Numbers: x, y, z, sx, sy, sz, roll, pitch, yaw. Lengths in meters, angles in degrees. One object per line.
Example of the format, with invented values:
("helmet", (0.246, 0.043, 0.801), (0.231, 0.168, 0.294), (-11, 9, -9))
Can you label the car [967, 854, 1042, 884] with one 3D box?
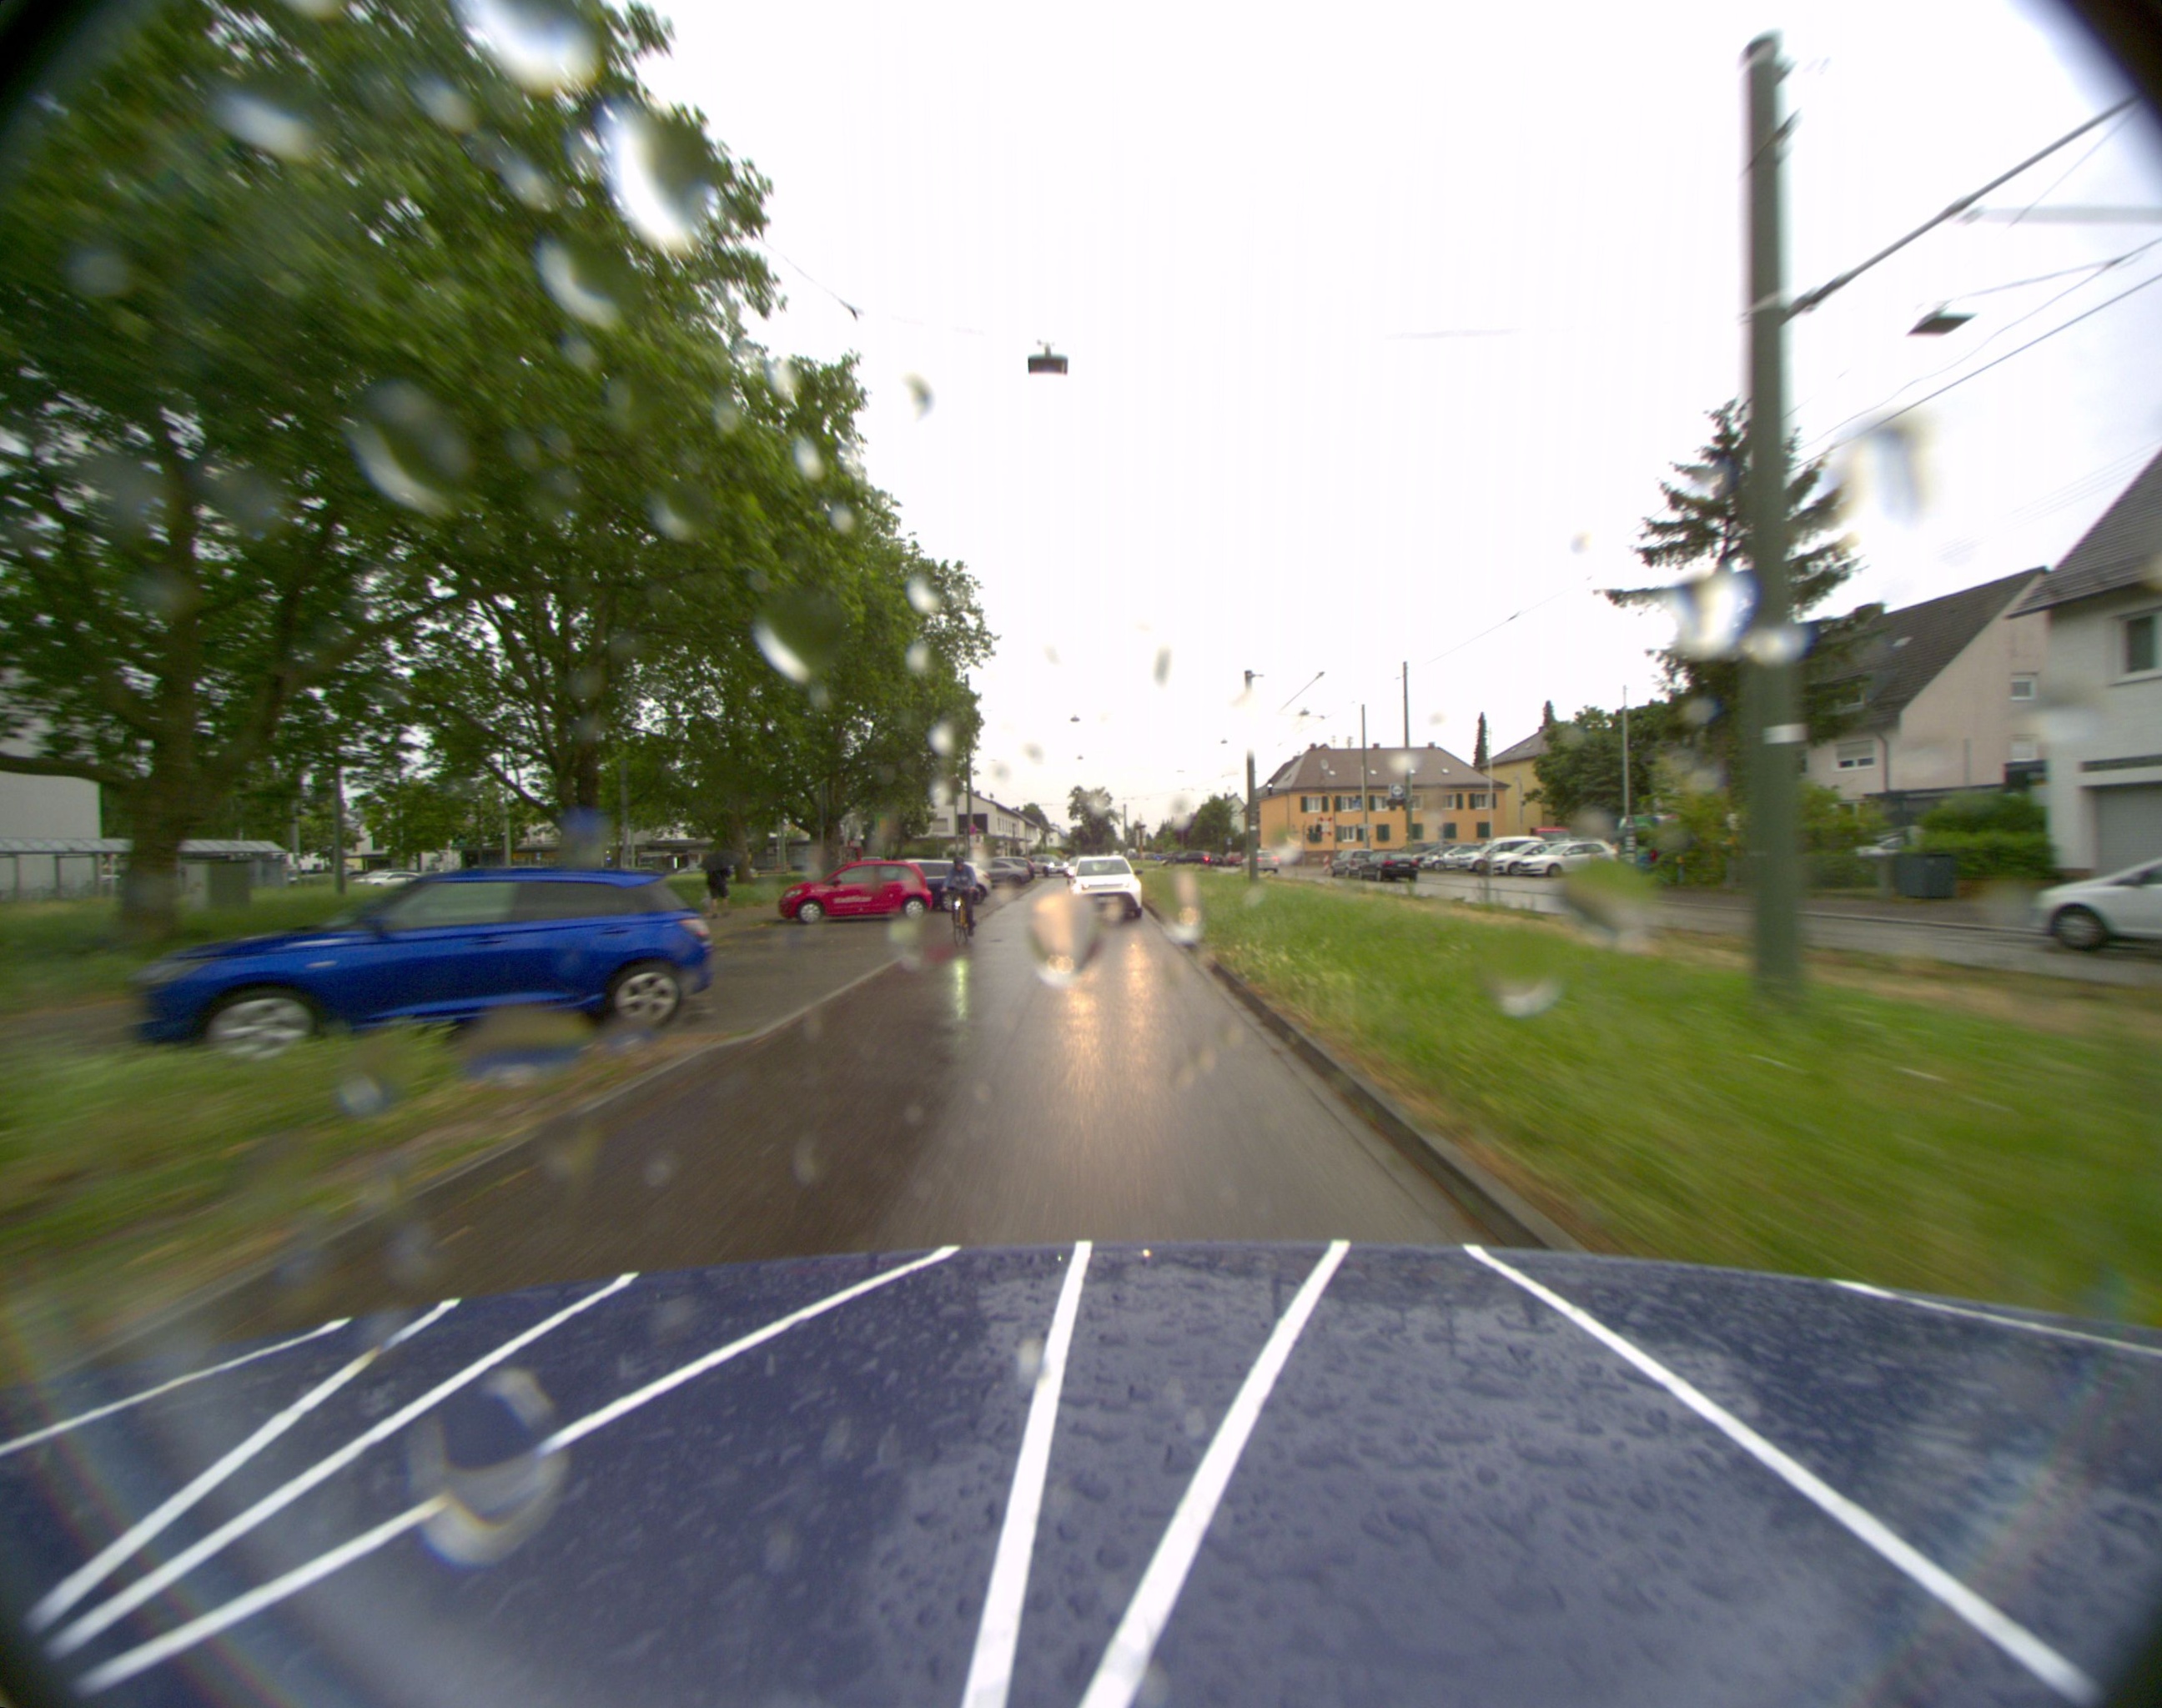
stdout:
("car", (-4.182, 0.795, 41.429), (3.711, 1.513, 1.616), (-1, 1, -24))

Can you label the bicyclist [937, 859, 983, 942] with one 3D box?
("bicyclist", (-2.249, 0.852, 14.198), (0.710, 1.504, 0.715), (-1, 1, 1))

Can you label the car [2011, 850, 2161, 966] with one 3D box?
("car", (14.290, 0.676, 8.978), (1.715, 1.432, 4.000), (0, 0, 0))

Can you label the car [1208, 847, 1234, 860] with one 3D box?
("car", (15.287, -0.052, 83.238), (2.096, 1.423, 4.077), (-1, 0, 0))

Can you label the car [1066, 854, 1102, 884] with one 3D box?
("car", (0.169, 0.786, 41.468), (1.853, 1.500, 4.120), (0, 0, 0))

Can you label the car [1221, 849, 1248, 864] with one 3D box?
("car", (15.008, 0.226, 74.519), (1.885, 1.423, 4.077), (-1, 0, 0))

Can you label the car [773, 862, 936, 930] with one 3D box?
("car", (-5.532, 0.959, 18.585), (3.582, 1.451, 1.616), (-1, 1, -25))

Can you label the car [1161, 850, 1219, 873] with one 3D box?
("car", (8.538, 0.580, 59.551), (4.115, 1.732, 2.003), (0, 1, 23))

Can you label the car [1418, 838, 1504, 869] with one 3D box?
("car", (21.326, -0.011, 42.803), (3.993, 1.586, 1.915), (-2, 1, 14))

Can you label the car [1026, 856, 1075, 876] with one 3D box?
("car", (-2.251, 0.834, 54.886), (1.716, 1.363, 3.868), (-1, 1, -34))

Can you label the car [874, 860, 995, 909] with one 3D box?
("car", (-4.945, 0.988, 25.622), (3.711, 1.475, 1.616), (-1, 1, -24))

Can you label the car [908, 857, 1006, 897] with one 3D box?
("car", (-5.172, 0.912, 31.680), (3.711, 1.538, 1.616), (-1, 1, -24))

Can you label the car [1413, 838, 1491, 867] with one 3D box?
("car", (22.034, -0.098, 45.278), (3.991, 1.586, 1.916), (-2, 1, 20))

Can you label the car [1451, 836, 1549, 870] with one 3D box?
("car", (21.668, -0.046, 39.424), (3.994, 1.586, 1.914), (-2, 1, 9))

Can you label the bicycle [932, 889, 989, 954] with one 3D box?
("bicycle", (-2.241, 1.230, 14.394), (0.710, 1.031, 2.099), (-1, 1, 1))

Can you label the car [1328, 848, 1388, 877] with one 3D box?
("car", (15.021, 0.426, 41.363), (1.881, 1.520, 4.000), (-1, 0, 1))

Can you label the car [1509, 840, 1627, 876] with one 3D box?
("car", (21.747, 0.176, 34.035), (3.996, 1.455, 1.914), (-2, 1, 3))

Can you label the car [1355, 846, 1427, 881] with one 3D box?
("car", (14.880, 0.420, 36.683), (1.912, 1.581, 4.000), (-1, 0, 1))

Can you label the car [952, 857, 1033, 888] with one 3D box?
("car", (-4.438, 0.894, 38.252), (3.711, 1.408, 1.616), (-1, 1, -24))

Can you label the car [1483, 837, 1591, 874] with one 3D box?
("car", (21.836, 0.081, 36.524), (3.996, 1.586, 1.914), (-2, 1, 3))

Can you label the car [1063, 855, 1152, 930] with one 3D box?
("car", (0.577, 0.838, 18.439), (1.853, 1.500, 4.120), (-3, 0, 0))

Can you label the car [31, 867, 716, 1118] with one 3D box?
("car", (-5.557, 0.938, 6.734), (4.006, 1.518, 1.715), (-1, 1, -31))

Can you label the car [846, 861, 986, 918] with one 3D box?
("car", (-4.811, 0.978, 22.189), (3.711, 1.475, 1.616), (-1, 1, -24))

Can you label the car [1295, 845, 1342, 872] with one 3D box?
("car", (15.633, 0.237, 50.255), (1.998, 1.648, 4.000), (-2, 1, 3))

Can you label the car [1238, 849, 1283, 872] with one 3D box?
("car", (11.838, 0.381, 50.379), (2.105, 1.423, 4.279), (-1, 0, 1))
